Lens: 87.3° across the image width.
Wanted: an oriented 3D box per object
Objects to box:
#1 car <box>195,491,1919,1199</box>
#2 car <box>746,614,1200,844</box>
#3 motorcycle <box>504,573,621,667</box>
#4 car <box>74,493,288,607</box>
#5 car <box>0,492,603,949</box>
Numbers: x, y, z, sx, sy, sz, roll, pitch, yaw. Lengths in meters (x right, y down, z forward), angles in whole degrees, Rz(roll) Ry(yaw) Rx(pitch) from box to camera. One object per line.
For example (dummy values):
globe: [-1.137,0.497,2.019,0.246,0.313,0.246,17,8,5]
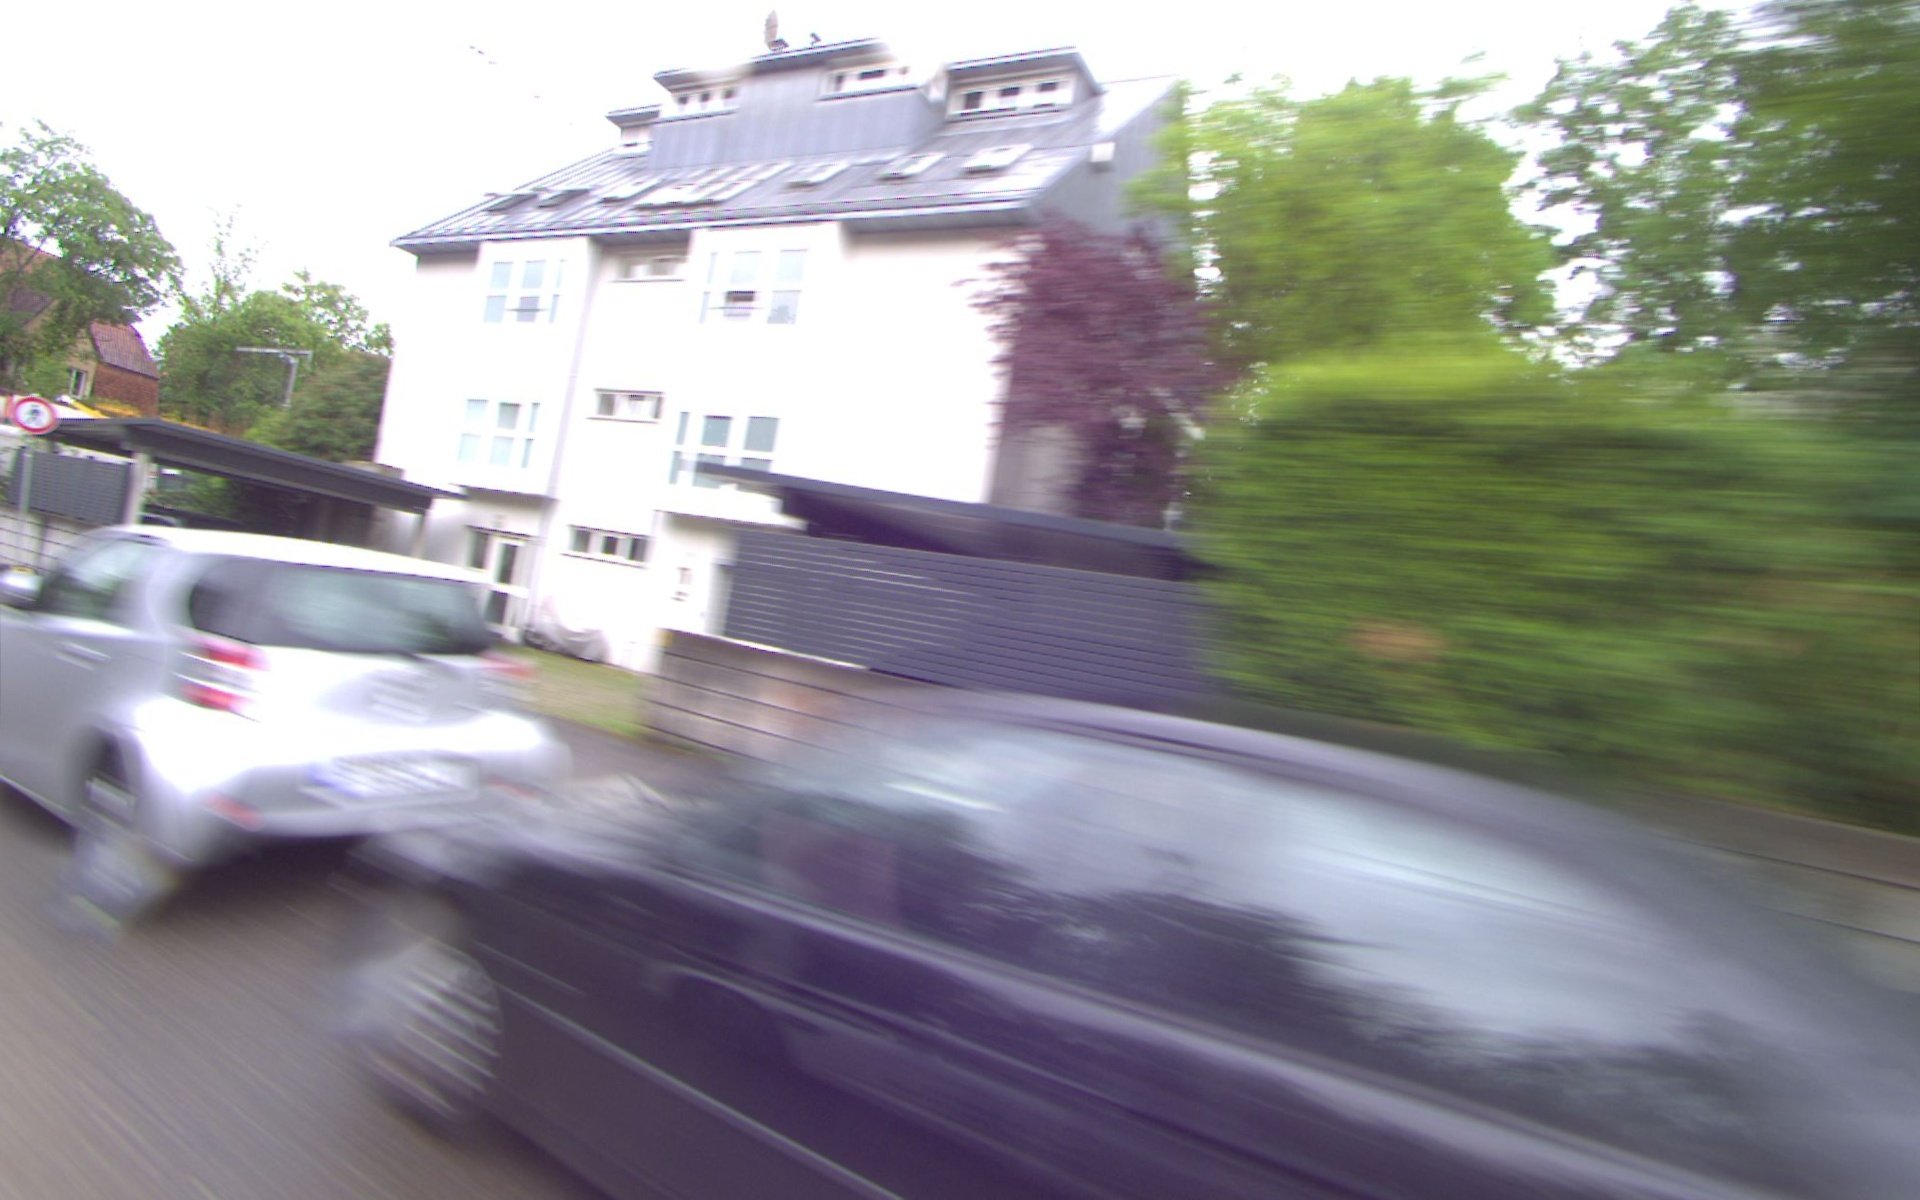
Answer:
car: [0.118,0.758,2.503,4.326,1.615,1.932,6,0,36]
car: [0.077,1.166,9.807,3.933,1.411,1.741,7,-4,31]
motorcycle: [-7.507,0.367,18.977,2.009,1.468,0.798,7,-2,30]
car: [-14.394,-0.943,18.550,3.934,1.486,1.701,7,-5,32]
car: [-3.639,0.374,5.028,3.330,1.474,1.676,7,-2,33]
